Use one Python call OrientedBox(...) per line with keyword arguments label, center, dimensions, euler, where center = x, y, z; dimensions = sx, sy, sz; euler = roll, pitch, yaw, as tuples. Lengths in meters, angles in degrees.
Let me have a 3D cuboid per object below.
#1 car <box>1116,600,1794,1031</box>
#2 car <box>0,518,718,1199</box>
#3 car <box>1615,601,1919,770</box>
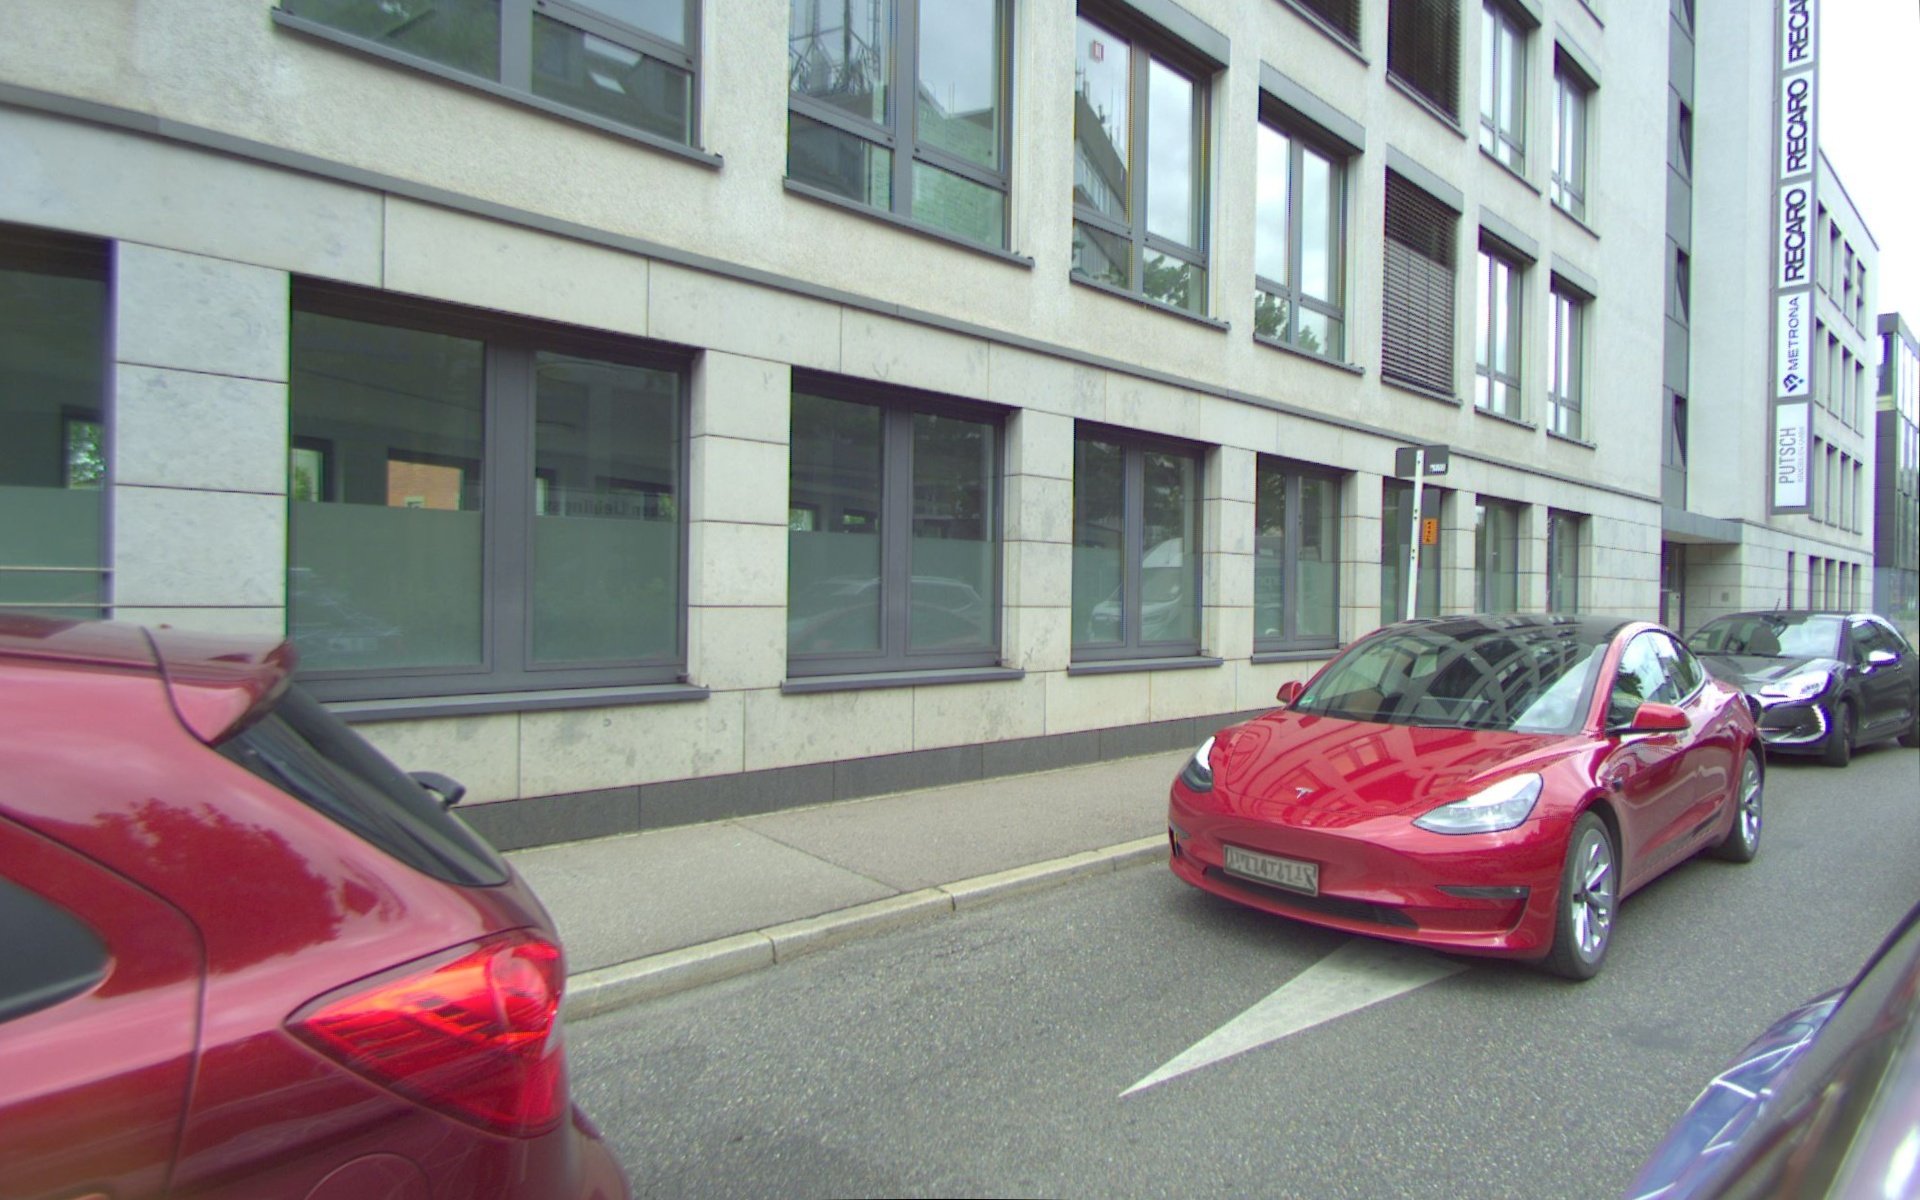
OrientedBox(label="car", center=(2.977, 0.730, 5.567), dimensions=(4.366, 1.436, 1.875), euler=(0, -1, -42))
OrientedBox(label="car", center=(-2.236, 0.684, 0.711), dimensions=(3.655, 1.500, 1.747), euler=(0, 0, -42))
OrientedBox(label="car", center=(8.834, 0.759, 10.676), dimensions=(3.982, 1.479, 1.707), euler=(0, -1, -32))
